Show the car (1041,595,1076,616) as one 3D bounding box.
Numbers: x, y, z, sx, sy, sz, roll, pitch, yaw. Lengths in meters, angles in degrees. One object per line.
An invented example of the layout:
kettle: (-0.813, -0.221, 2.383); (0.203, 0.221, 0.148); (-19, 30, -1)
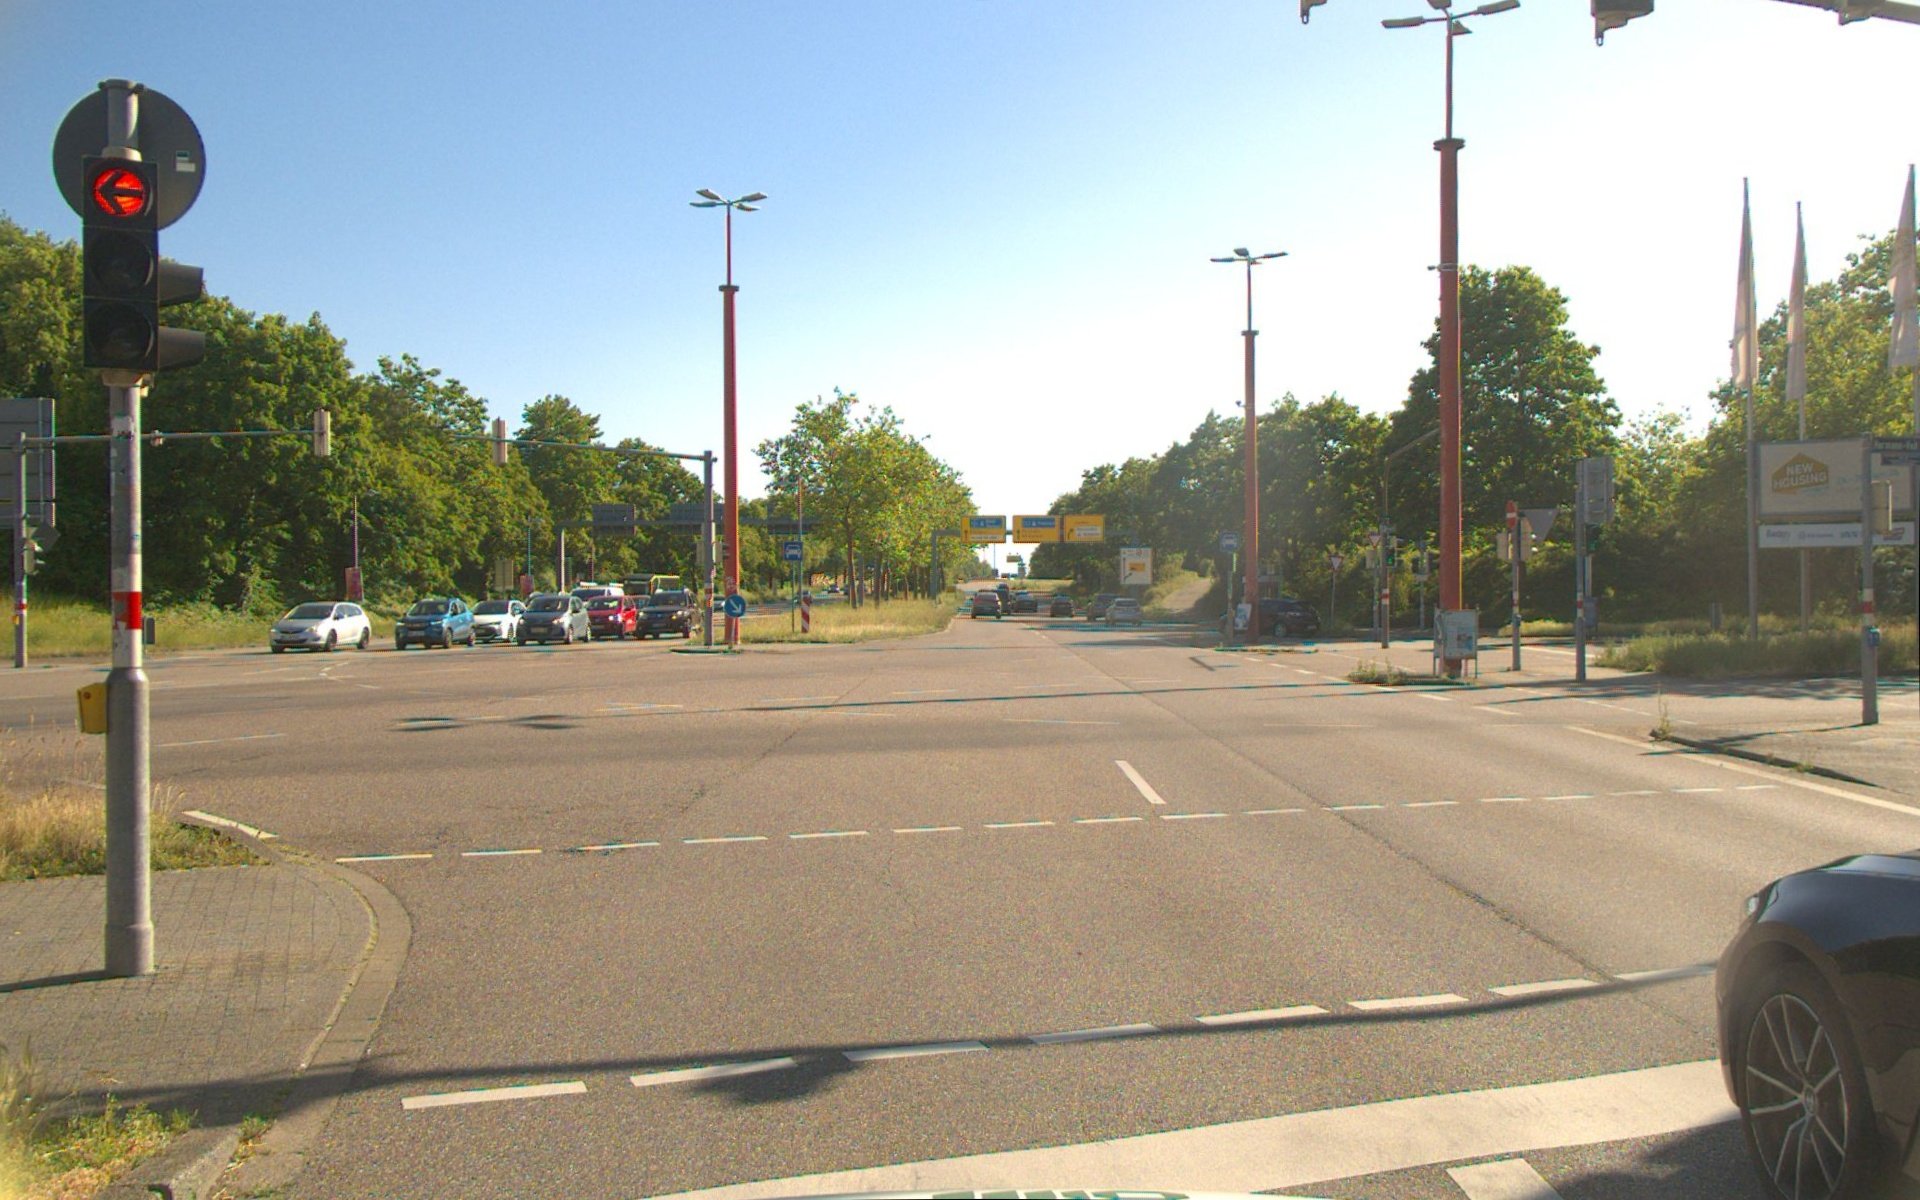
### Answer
car: (6.899, 0.372, 116.340); (1.915, 1.467, 4.277); (0, 0, -4)

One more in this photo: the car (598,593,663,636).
car: (-12.710, 0.523, 64.046); (1.954, 1.601, 4.117); (0, 0, -4)

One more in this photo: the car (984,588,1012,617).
car: (2.754, 0.184, 120.591); (1.953, 2.049, 3.999); (0, 0, -1)

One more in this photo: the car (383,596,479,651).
car: (-16.206, 0.678, 50.890); (1.955, 1.601, 4.116); (0, 0, -5)

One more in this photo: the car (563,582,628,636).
car: (-15.670, 0.381, 71.264); (2.021, 2.231, 4.376); (0, 0, -3)

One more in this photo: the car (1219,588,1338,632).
car: (12.081, 0.361, 63.004); (2.140, 1.601, 4.229); (0, 0, -34)

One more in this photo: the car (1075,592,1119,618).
car: (8.567, 0.293, 103.619); (2.116, 1.601, 4.277); (0, 0, -4)

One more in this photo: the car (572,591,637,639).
car: (-12.477, 0.503, 58.271); (1.956, 1.601, 4.113); (0, 0, -8)

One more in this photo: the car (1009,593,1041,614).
car: (5.284, 0.268, 134.334); (2.116, 1.601, 4.277); (0, 0, -4)

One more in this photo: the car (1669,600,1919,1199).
car: (2.975, 0.714, 2.360); (1.953, 1.419, 4.476); (0, 0, -1)

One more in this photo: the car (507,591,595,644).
car: (-12.803, 0.517, 51.964); (1.954, 1.601, 4.118); (0, 0, -4)

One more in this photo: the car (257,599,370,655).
car: (-19.585, 0.781, 50.297); (1.954, 1.601, 4.118); (0, 0, -3)

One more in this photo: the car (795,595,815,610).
car: (-17.427, 0.274, 186.033); (1.954, 1.601, 4.118); (0, 0, -3)

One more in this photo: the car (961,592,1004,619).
car: (1.381, 0.340, 102.304); (2.202, 1.601, 4.276); (0, 0, -5)

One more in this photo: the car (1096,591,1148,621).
car: (8.814, 0.332, 90.525); (2.116, 1.601, 4.277); (0, 0, -4)

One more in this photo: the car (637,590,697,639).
car: (-9.872, 0.468, 55.991); (1.841, 1.601, 4.113); (0, 0, -8)

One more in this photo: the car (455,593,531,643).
car: (-15.989, 0.592, 56.784); (1.956, 1.601, 4.113); (-1, 0, -8)
